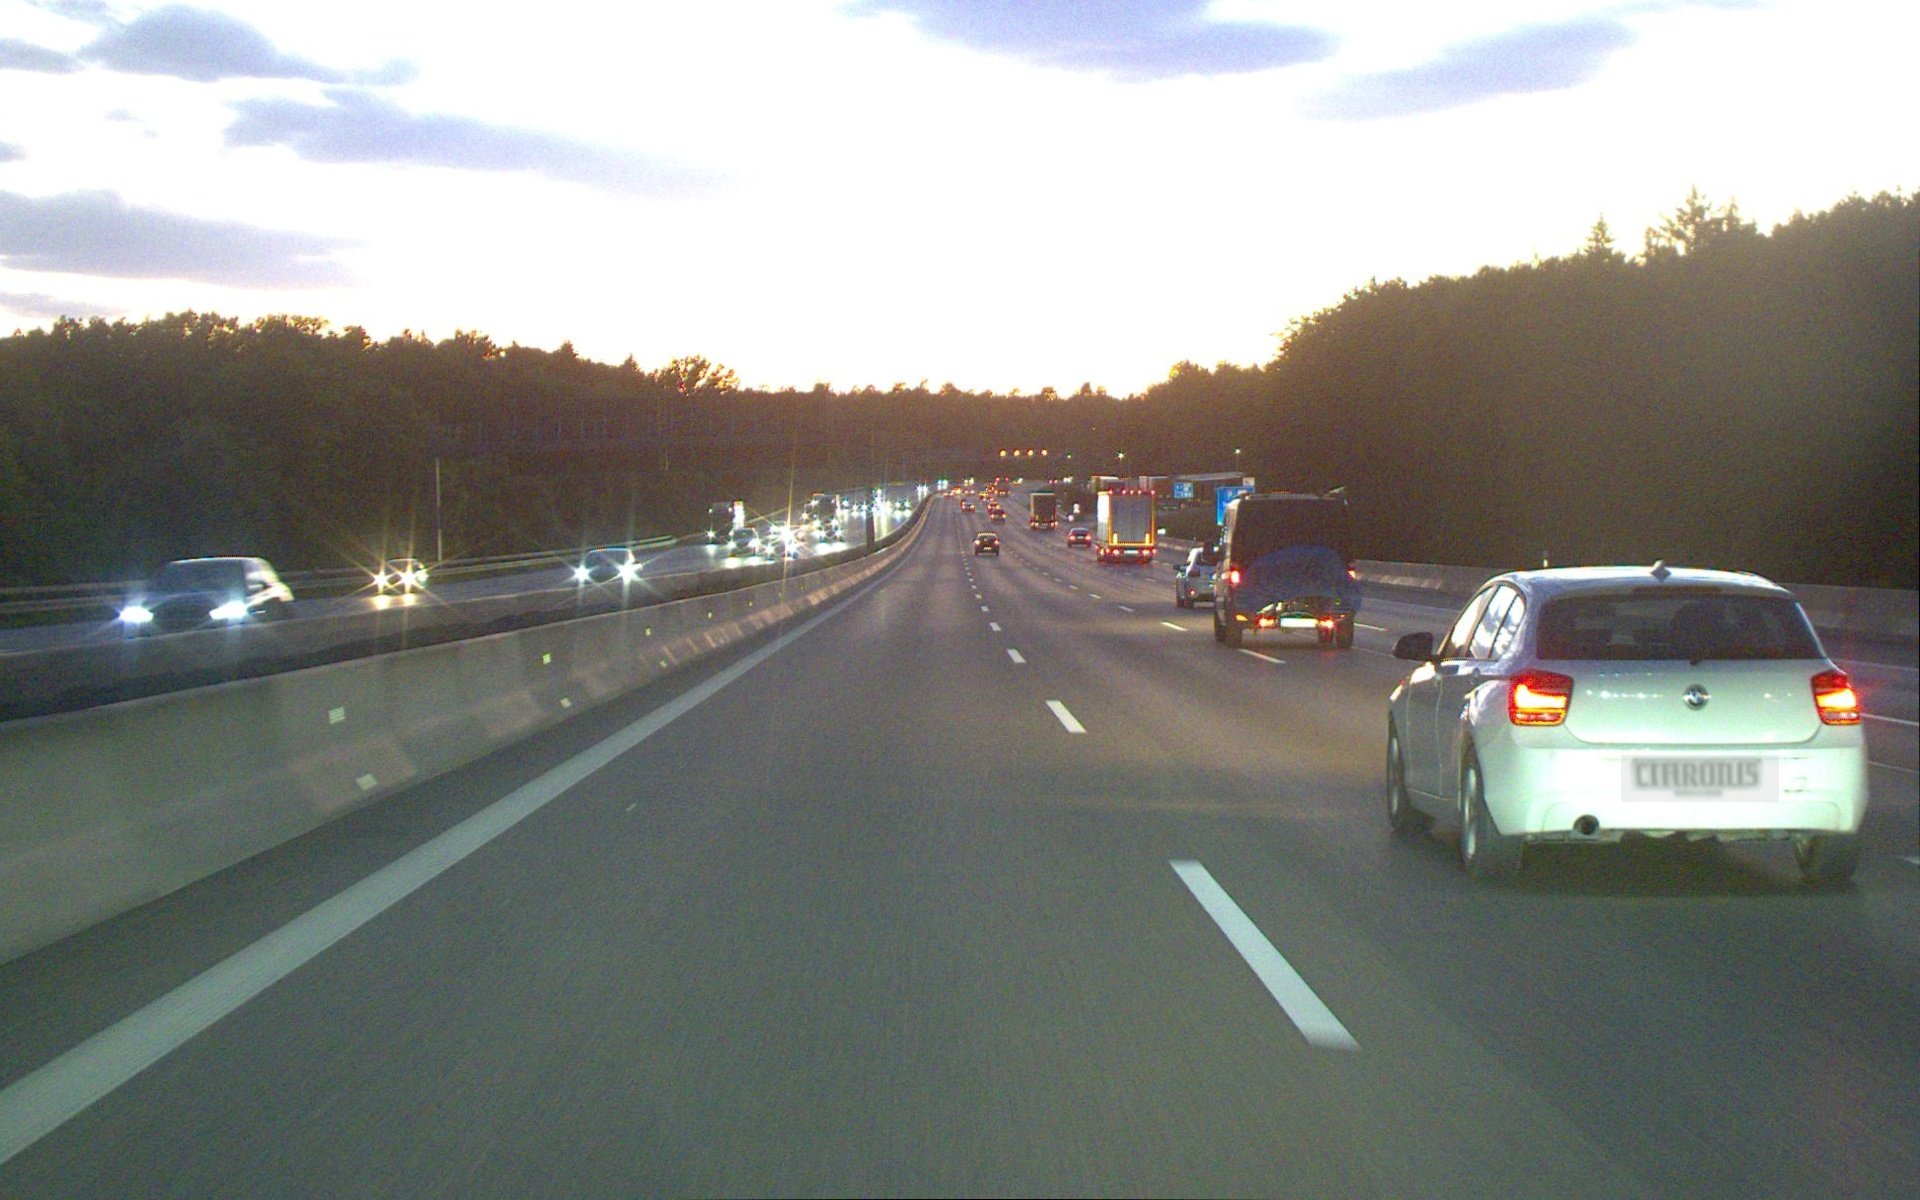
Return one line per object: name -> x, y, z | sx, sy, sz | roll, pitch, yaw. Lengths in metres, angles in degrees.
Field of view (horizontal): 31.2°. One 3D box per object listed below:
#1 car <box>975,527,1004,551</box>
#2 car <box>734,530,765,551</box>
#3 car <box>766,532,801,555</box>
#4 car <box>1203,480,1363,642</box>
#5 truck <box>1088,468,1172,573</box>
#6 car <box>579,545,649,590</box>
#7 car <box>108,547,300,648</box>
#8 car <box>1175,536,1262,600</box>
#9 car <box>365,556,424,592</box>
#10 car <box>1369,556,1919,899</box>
car -> 2.027, -4.117, 232.615 | 1.836, 1.565, 4.000 | 0, 1, 2
car -> -15.059, -4.262, 245.866 | 1.836, 1.433, 4.000 | 0, 1, 2
car -> -11.067, -3.520, 215.589 | 1.836, 1.433, 4.000 | 0, 1, 2
car -> 5.018, -0.627, 54.077 | 2.166, 2.410, 5.564 | 0, 1, 2
truck -> 9.795, -4.558, 199.818 | 4.149, 5.836, 14.297 | 0, 1, 0
car -> -11.069, -1.055, 110.321 | 1.836, 1.433, 4.000 | 0, 1, 0
car -> -11.192, -0.071, 51.191 | 1.848, 1.409, 4.791 | 0, 1, -1
car -> 6.443, -0.817, 86.060 | 2.008, 1.533, 4.000 | 0, 1, 2
car -> -22.927, -1.060, 139.549 | 1.836, 1.433, 4.000 | 0, 1, -1
car -> 3.170, 0.521, 16.481 | 1.859, 1.437, 3.721 | 1, 1, -2
